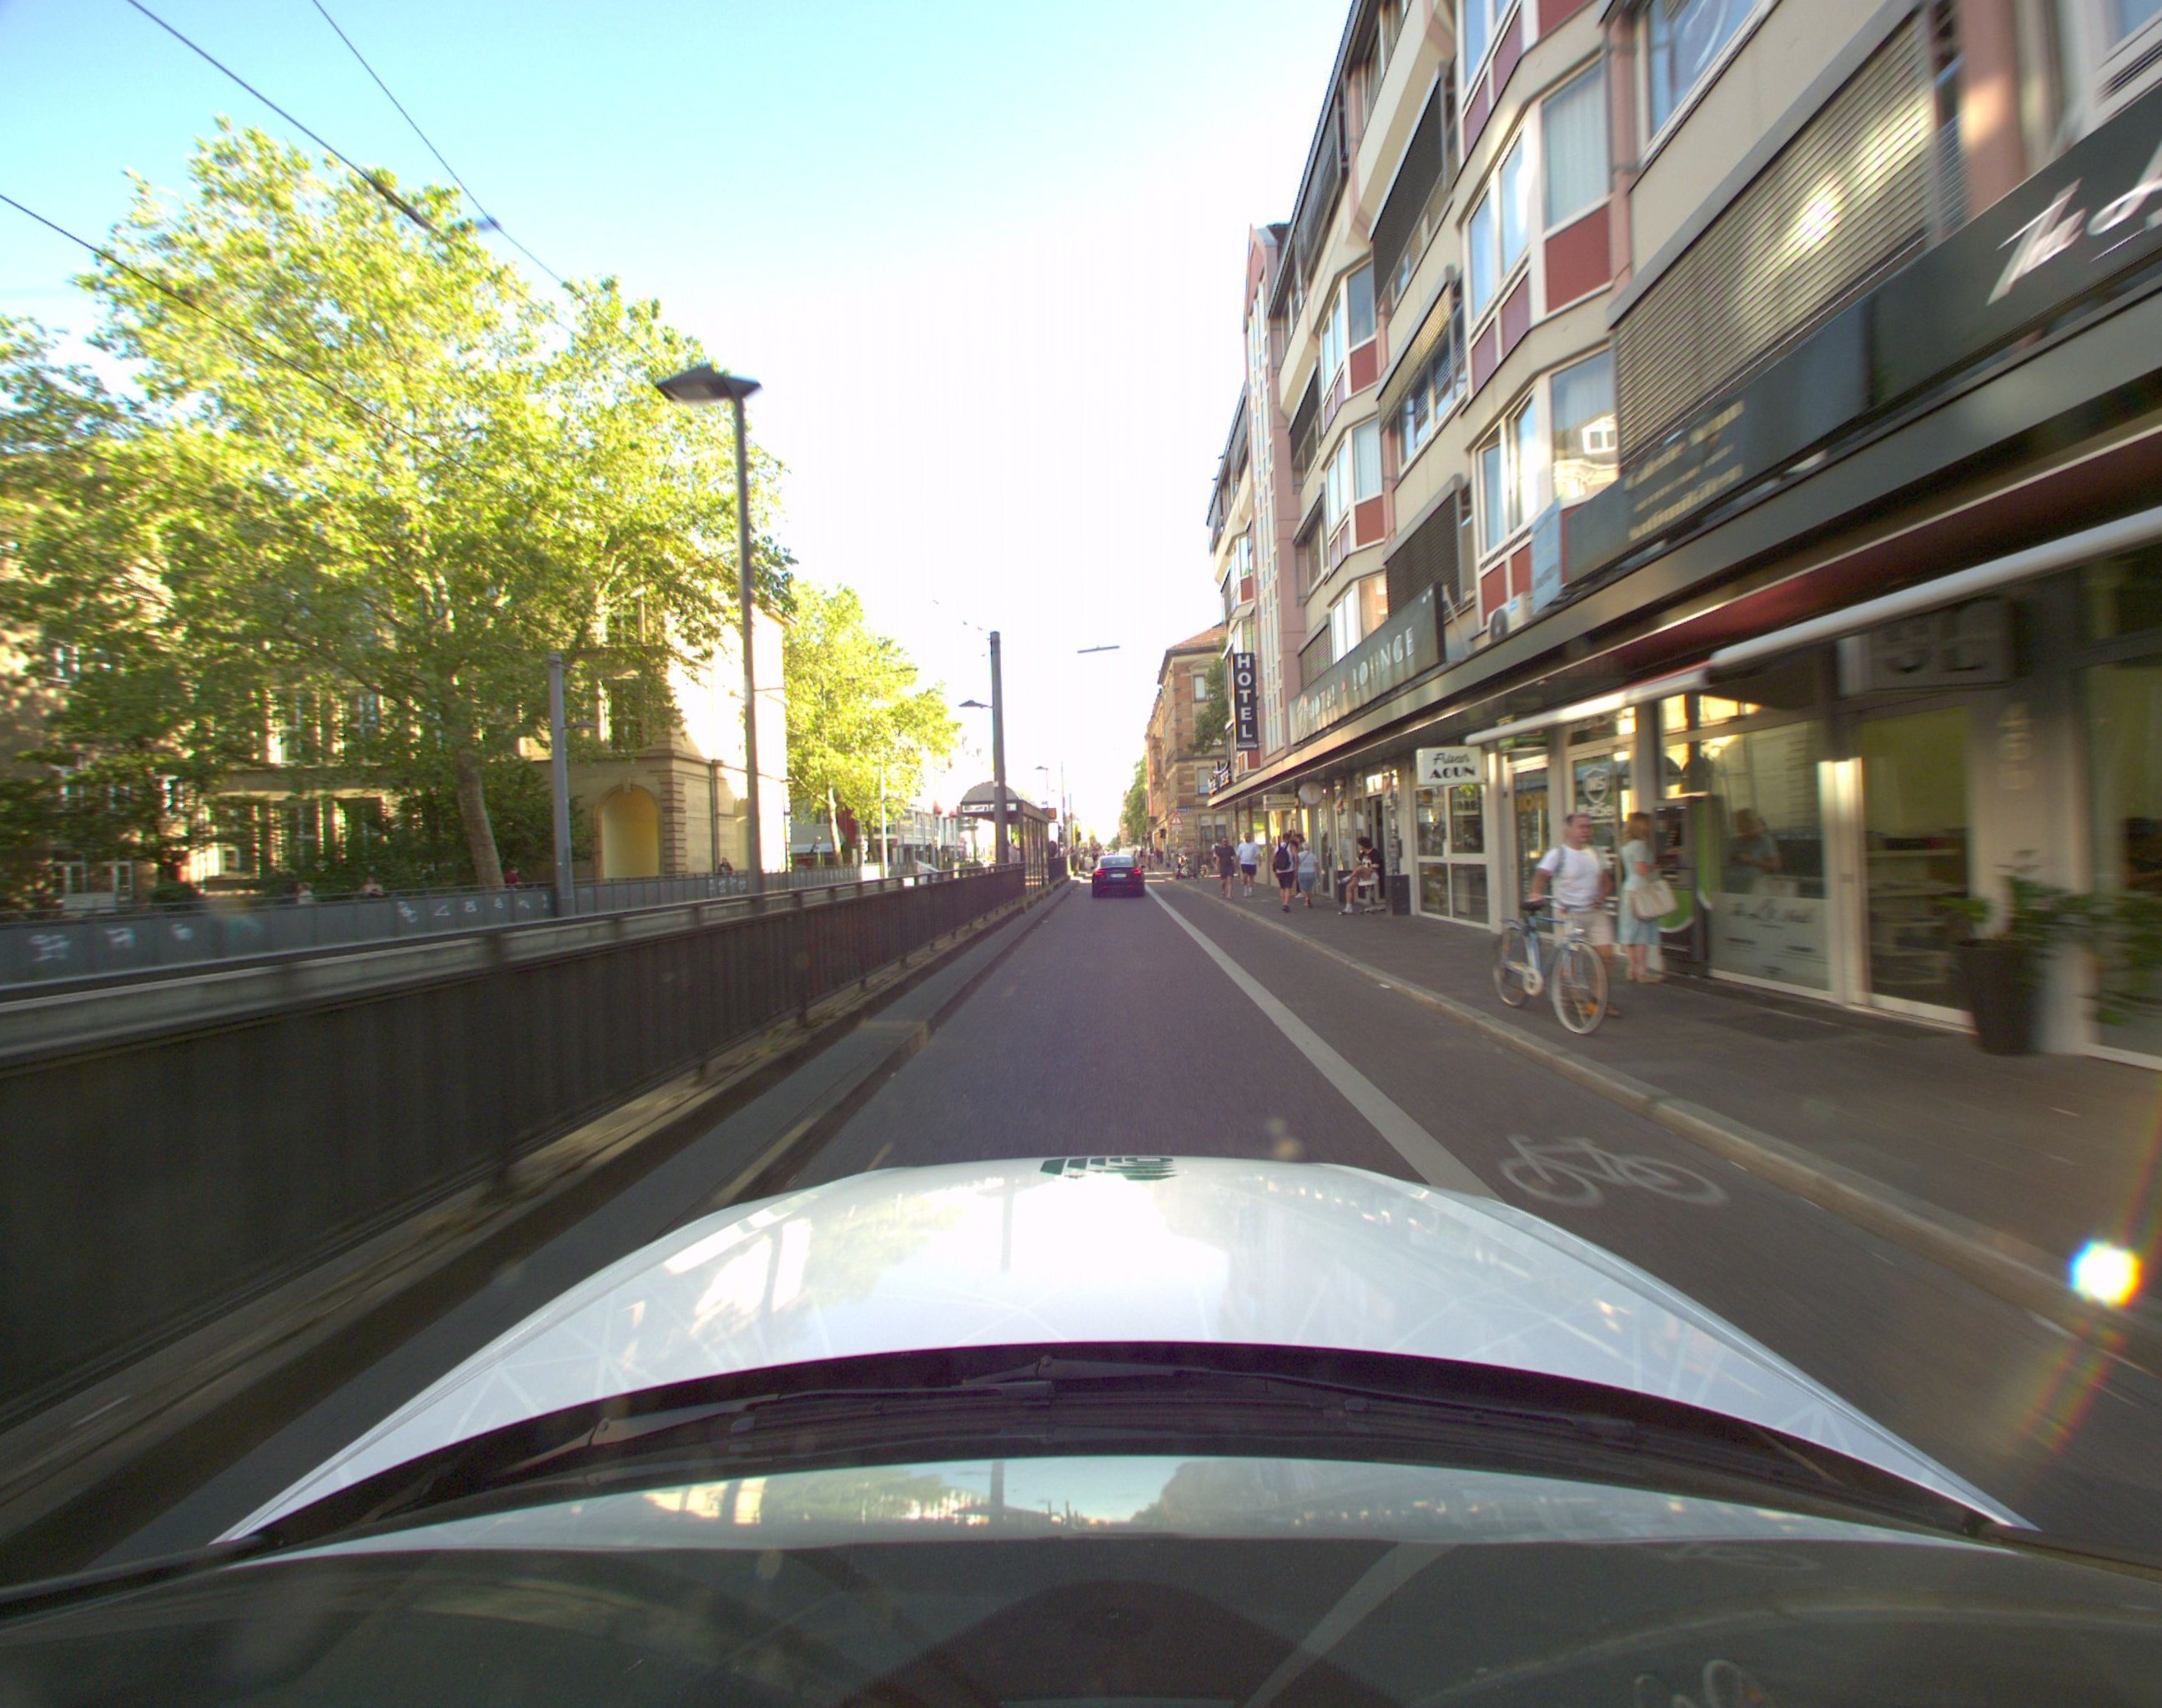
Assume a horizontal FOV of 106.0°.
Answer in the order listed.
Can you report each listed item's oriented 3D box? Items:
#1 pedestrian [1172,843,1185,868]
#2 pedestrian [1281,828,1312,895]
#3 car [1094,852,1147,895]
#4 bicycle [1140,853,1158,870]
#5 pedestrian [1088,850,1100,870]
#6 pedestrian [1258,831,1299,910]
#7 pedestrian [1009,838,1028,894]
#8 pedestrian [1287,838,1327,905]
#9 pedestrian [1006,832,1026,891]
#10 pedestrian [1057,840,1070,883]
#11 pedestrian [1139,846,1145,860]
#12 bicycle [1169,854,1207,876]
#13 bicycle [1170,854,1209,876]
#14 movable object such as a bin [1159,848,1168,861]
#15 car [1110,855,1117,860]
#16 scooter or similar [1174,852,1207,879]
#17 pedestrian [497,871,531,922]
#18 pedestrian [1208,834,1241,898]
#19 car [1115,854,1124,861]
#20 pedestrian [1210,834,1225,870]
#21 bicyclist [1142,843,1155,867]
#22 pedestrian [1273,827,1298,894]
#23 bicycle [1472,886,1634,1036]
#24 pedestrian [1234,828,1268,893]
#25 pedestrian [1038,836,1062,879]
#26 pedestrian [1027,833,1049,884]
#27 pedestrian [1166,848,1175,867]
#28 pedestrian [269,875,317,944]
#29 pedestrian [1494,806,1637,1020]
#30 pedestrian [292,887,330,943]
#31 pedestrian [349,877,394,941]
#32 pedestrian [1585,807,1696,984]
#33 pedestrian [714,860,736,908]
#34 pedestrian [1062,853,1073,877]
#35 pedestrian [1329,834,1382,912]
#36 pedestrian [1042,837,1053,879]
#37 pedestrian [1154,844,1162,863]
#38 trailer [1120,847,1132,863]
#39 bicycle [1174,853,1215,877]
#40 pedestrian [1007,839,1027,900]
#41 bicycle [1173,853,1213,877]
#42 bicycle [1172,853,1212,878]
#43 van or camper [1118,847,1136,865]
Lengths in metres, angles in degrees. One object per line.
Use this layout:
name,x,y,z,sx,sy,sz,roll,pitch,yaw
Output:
pedestrian,7.047,0.093,59.090,0.843,1.807,0.878,-2,1,7
pedestrian,5.838,0.190,22.098,0.627,1.769,0.501,-3,0,2
car,1.352,0.650,28.970,1.713,1.405,3.710,-1,0,1
bicycle,4.717,0.516,56.659,0.648,1.139,2.086,-1,0,-12
pedestrian,1.017,0.486,63.502,0.837,1.548,0.701,-2,0,11
pedestrian,4.417,0.354,18.255,0.741,1.727,0.815,-1,0,2
pedestrian,-1.780,0.330,23.165,0.318,1.572,0.546,-1,-1,21
pedestrian,5.197,0.399,18.749,0.633,1.483,0.654,-5,0,1
pedestrian,-1.773,0.203,22.254,0.422,1.573,0.593,-2,0,2
pedestrian,-0.865,0.366,40.558,0.536,2.120,0.808,-2,0,1
pedestrian,7.841,-0.108,104.543,0.670,1.814,0.756,-2,-1,1
bicycle,5.731,0.581,43.704,1.939,1.107,0.564,-3,0,0
bicycle,5.739,0.576,43.056,1.939,1.107,0.564,-3,0,0
movable object such as a bin,8.573,0.023,84.594,0.773,1.347,1.299,-2,0,0
car,8.760,0.930,218.266,1.587,1.433,3.689,-3,-1,3
scooter or similar,5.419,0.548,40.376,1.473,1.229,0.592,-4,0,2
pedestrian,-19.554,1.460,28.092,0.676,1.712,0.614,-2,1,0
pedestrian,4.097,0.338,23.287,0.665,1.728,0.810,-5,0,1
car,7.983,0.723,167.835,1.704,1.457,4.552,-1,-1,2
pedestrian,7.669,-0.113,45.869,0.710,1.985,0.946,-1,-3,15
bicyclist,4.683,0.056,56.696,0.655,1.656,0.923,-1,-1,-12
pedestrian,5.826,0.171,23.206,0.449,1.849,0.812,-3,0,2
bicycle,3.820,0.806,6.735,0.301,0.990,1.760,-3,0,1
pedestrian,4.956,0.182,23.735,0.703,1.820,0.764,-5,0,2
pedestrian,-1.363,0.156,35.549,0.775,1.831,0.796,0,-1,-28
pedestrian,-1.526,0.159,28.959,0.687,1.765,0.748,-2,0,0
pedestrian,6.729,0.289,61.284,0.569,1.414,0.583,-1,0,17
pedestrian,-22.279,1.556,23.028,0.703,1.882,0.627,-2,0,5
pedestrian,3.979,0.461,6.745,0.660,1.630,0.705,-4,0,1
pedestrian,-21.611,1.703,22.868,0.581,1.529,0.474,-2,0,3
pedestrian,-20.757,1.595,23.843,0.684,1.806,0.649,-2,0,2
pedestrian,5.302,0.381,7.747,0.598,1.590,0.554,-3,0,1
pedestrian,-15.492,1.288,35.407,0.692,2.013,0.695,-2,0,-38
pedestrian,-0.781,0.641,46.837,0.475,1.329,0.356,-3,0,31
pedestrian,5.481,0.376,16.294,0.735,1.472,0.707,-5,0,2
pedestrian,-1.334,0.143,32.699,0.350,1.669,0.529,-2,0,0
pedestrian,7.188,-0.066,75.926,0.464,1.728,0.591,-2,1,38
trailer,6.278,0.171,114.202,1.654,2.117,3.846,-1,0,3
bicycle,5.728,0.558,41.026,1.939,1.107,0.564,-3,0,0
pedestrian,-1.675,0.406,21.287,0.422,1.573,0.448,-2,0,2
bicycle,5.737,0.564,41.640,1.939,1.107,0.564,-3,0,0
bicycle,5.743,0.596,42.294,1.939,1.165,0.628,-3,0,0
van or camper,5.394,0.305,96.813,1.924,2.037,5.477,-1,-1,1
